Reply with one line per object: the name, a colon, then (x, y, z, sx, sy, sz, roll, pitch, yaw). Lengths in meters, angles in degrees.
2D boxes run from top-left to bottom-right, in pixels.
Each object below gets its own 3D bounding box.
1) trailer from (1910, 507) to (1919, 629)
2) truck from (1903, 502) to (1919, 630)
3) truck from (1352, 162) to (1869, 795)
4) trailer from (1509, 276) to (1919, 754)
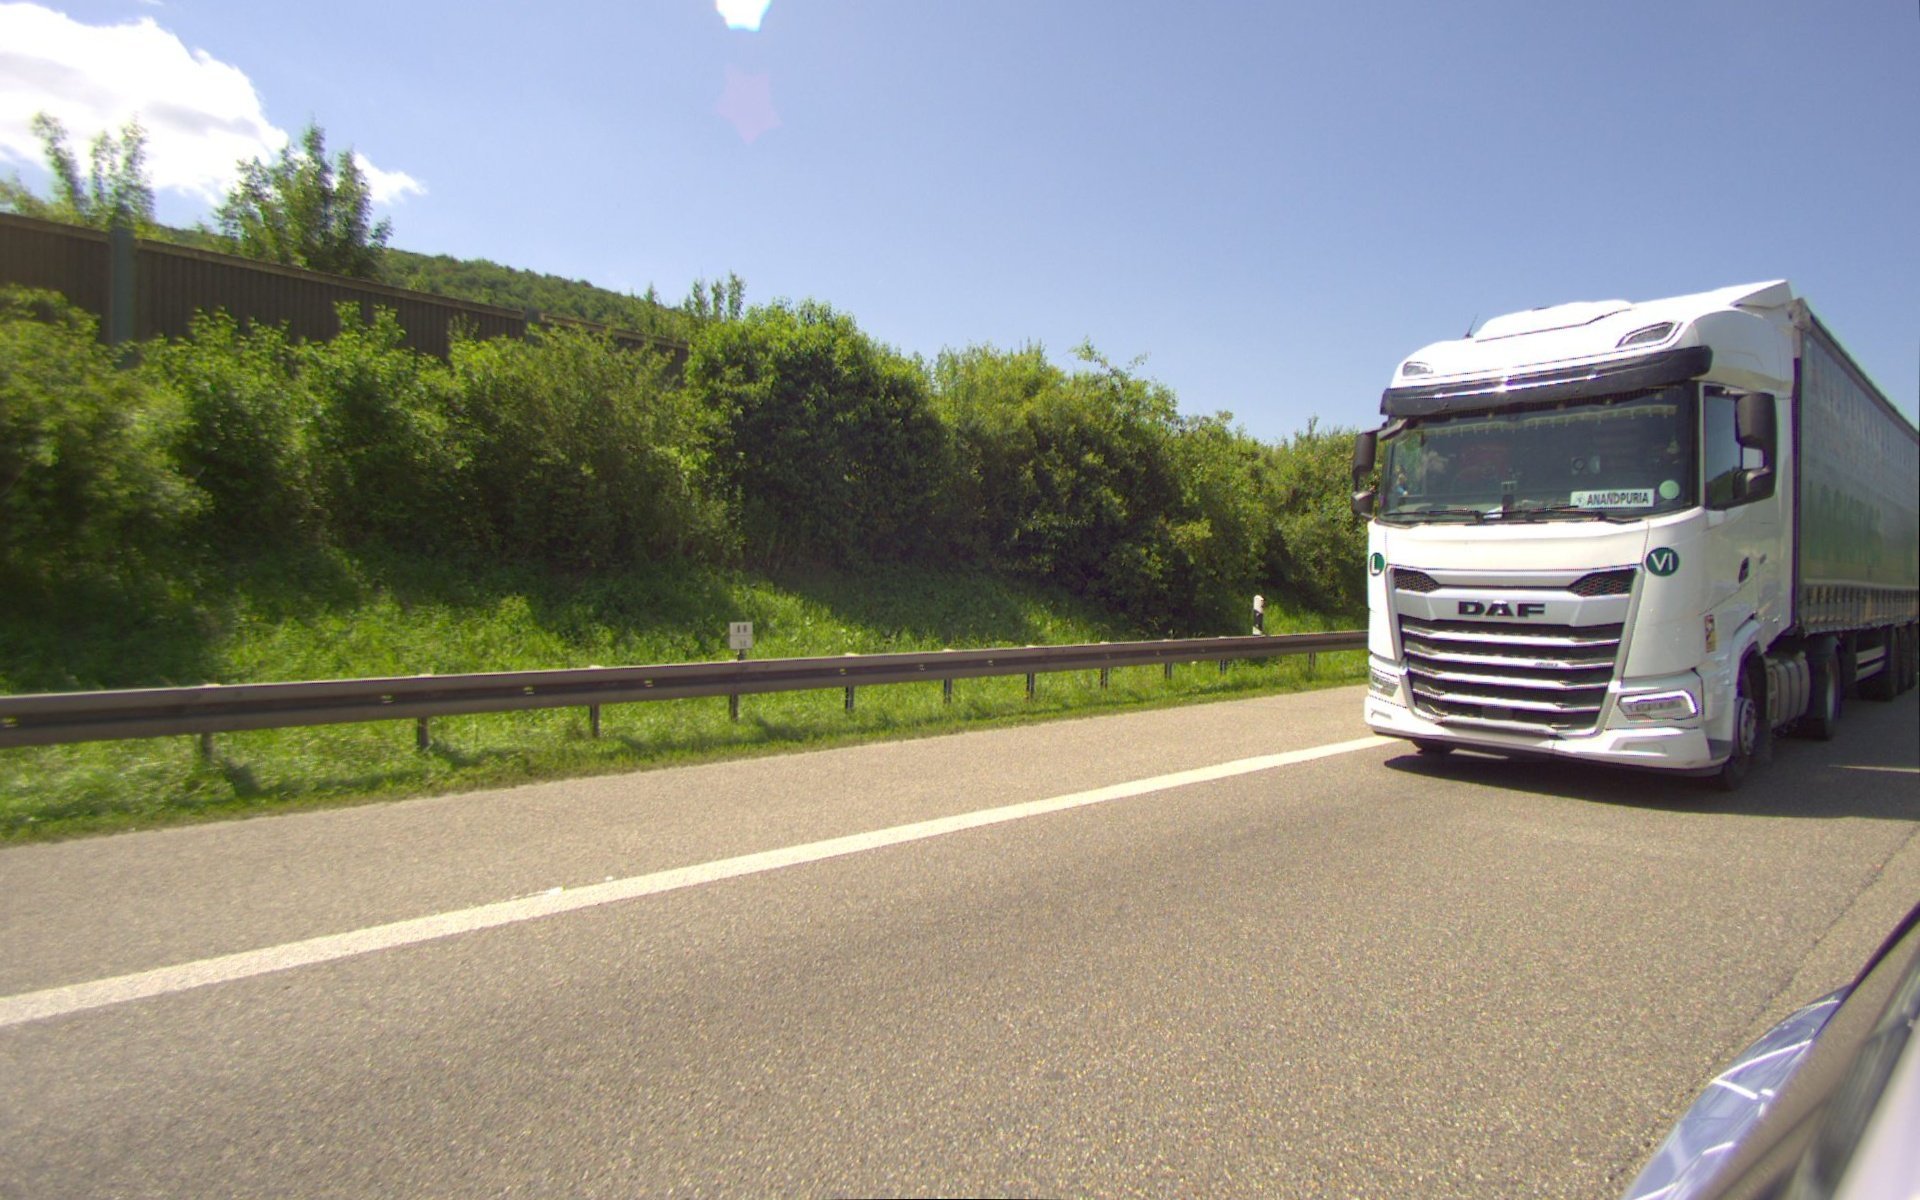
trailer: (38.116, -1.199, 38.092, 13.400, 4.160, 2.540, -1, 1, -43)
truck: (33.808, -1.148, 34.109, 5.978, 4.140, 2.527, -1, 1, -43)
truck: (6.388, -0.824, 9.477, 6.271, 4.027, 2.482, -1, 1, -42)
trailer: (11.476, -0.803, 13.969, 13.421, 4.027, 2.482, -1, 1, -42)
